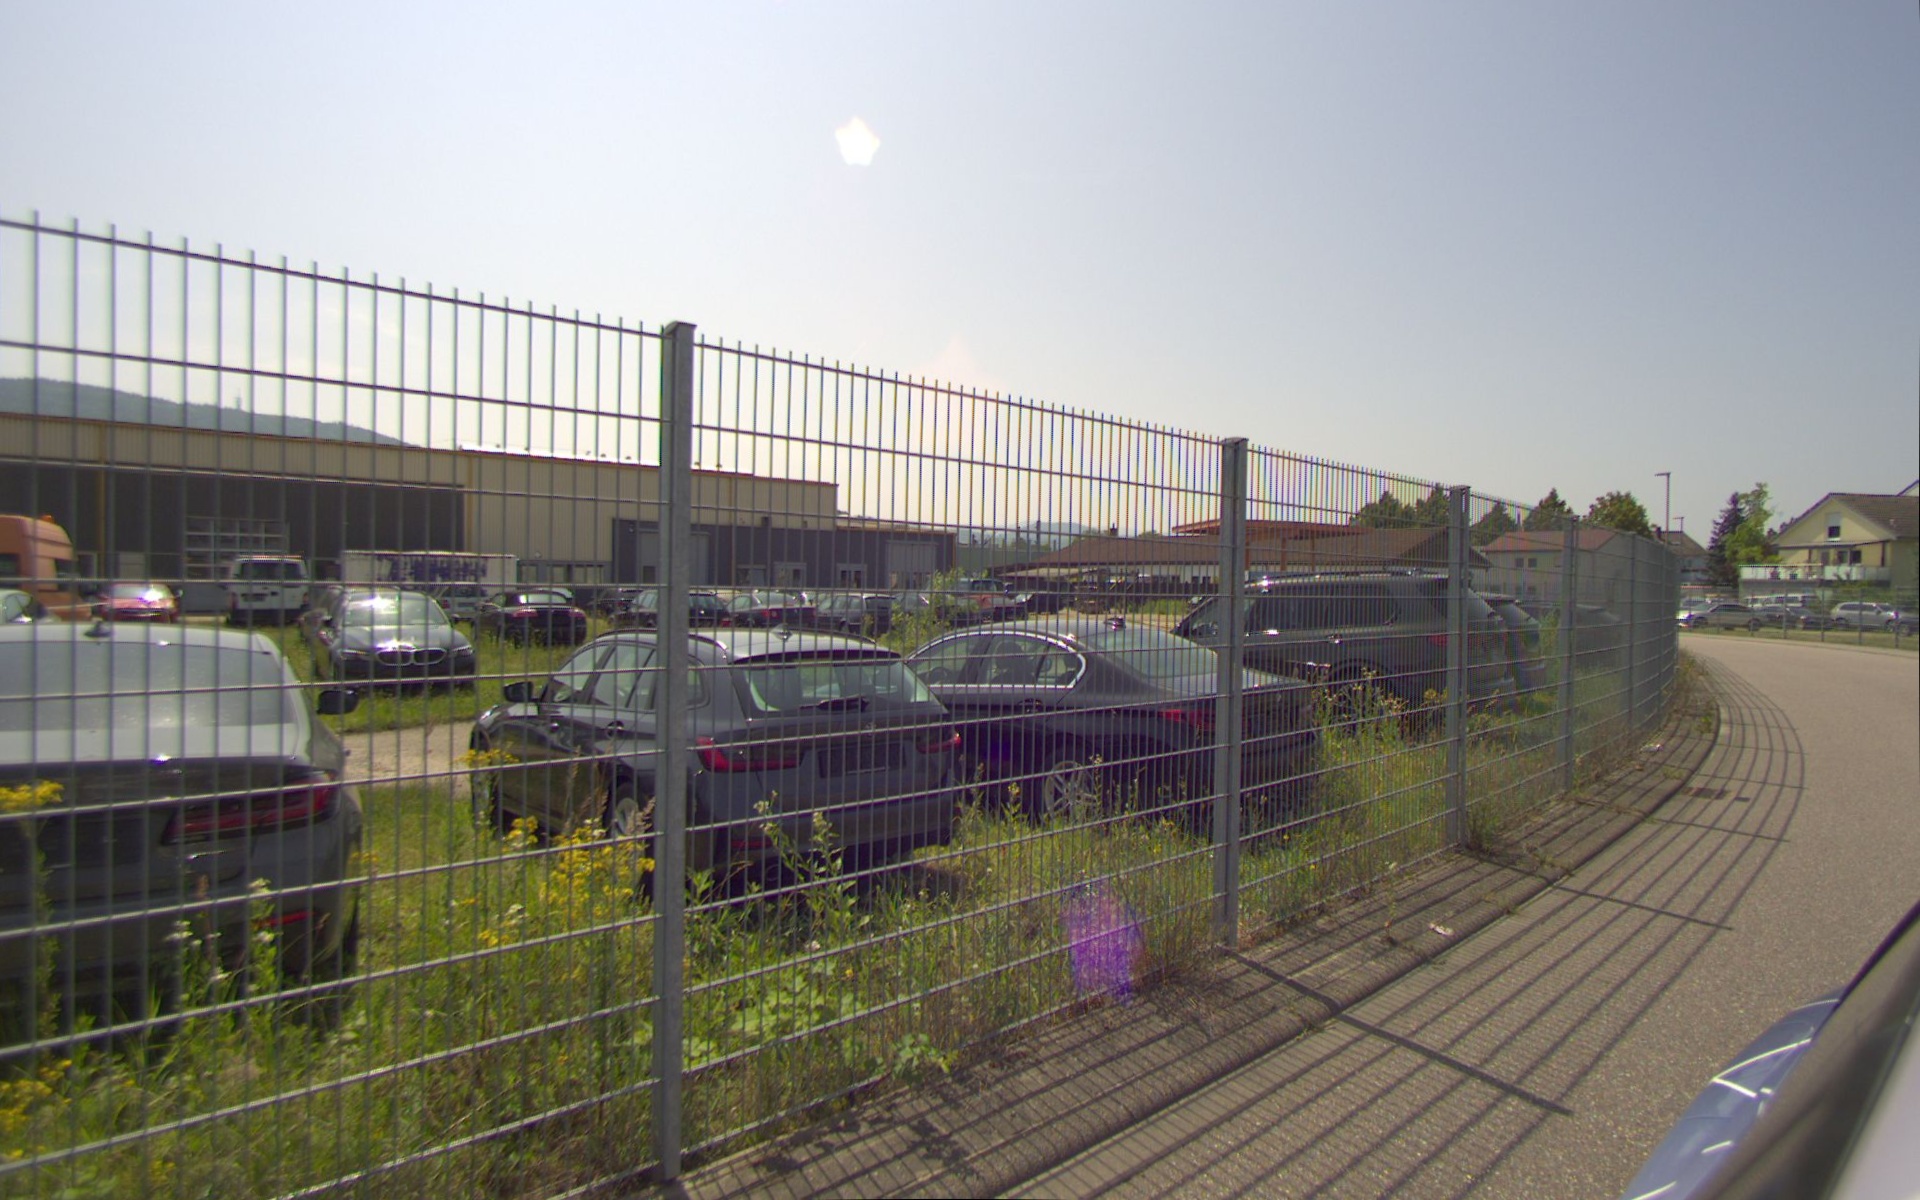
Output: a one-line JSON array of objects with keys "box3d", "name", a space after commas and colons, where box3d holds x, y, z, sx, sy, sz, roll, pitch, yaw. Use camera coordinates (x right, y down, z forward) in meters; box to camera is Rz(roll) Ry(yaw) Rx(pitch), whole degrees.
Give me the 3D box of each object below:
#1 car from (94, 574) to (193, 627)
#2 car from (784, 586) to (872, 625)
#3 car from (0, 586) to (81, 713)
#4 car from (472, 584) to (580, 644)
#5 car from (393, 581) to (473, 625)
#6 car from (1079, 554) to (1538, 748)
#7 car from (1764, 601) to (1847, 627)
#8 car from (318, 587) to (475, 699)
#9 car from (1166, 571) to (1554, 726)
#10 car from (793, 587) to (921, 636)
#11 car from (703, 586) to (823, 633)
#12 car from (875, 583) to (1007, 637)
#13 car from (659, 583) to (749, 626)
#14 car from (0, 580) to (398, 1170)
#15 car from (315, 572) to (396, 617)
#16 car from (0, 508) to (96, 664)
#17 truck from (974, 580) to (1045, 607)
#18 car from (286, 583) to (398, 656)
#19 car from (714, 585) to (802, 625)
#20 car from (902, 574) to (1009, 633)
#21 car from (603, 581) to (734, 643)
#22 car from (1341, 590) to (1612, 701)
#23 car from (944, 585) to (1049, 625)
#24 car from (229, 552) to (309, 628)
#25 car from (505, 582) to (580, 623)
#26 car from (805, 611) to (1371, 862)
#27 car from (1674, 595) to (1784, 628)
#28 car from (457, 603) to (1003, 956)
[{"box3d": [-24.023, -0.023, 29.909, 1.806, 1.395, 4.393, 1, 1, -33], "name": "car"}, {"box3d": [-5.378, 0.199, 40.738, 1.806, 1.395, 4.393, 1, 1, -33], "name": "car"}, {"box3d": [-13.076, 0.548, 13.177, 1.786, 1.368, 4.763, 1, 1, -33], "name": "car"}, {"box3d": [-10.076, 0.271, 23.326, 1.546, 1.198, 4.393, 1, 1, -33], "name": "car"}, {"box3d": [-18.802, 0.067, 35.990, 1.936, 1.403, 4.390, 1, 1, -35], "name": "car"}, {"box3d": [3.770, 0.402, 11.600, 4.686, 1.791, 1.715, 2, 1, 44], "name": "car"}, {"box3d": [51.221, 0.816, 61.422, 1.784, 1.482, 3.687, 0, 1, -4], "name": "car"}, {"box3d": [-8.791, 0.536, 15.571, 1.786, 1.368, 4.763, 1, 1, -33], "name": "car"}, {"box3d": [4.963, 0.484, 12.916, 4.290, 1.623, 1.668, 2, 1, 41], "name": "car"}, {"box3d": [-2.998, 0.284, 28.709, 1.806, 1.221, 4.393, 1, 1, -33], "name": "car"}, {"box3d": [-5.302, 0.214, 26.833, 1.587, 1.046, 4.393, 1, 1, -33], "name": "car"}, {"box3d": [-0.641, 0.246, 29.474, 1.806, 1.362, 4.393, 1, 1, -33], "name": "car"}, {"box3d": [-9.291, 0.121, 36.481, 1.806, 1.395, 4.393, 1, 1, -33], "name": "car"}, {"box3d": [-3.880, 0.750, 4.767, 1.761, 1.602, 4.485, 1, 1, -34], "name": "car"}, {"box3d": [-19.932, -0.209, 33.286, 1.936, 1.339, 4.390, 1, 1, -35], "name": "car"}, {"box3d": [-17.688, -0.300, 18.718, 1.942, 2.617, 4.749, 1, 1, -33], "name": "car"}, {"box3d": [3.538, -0.445, 72.010, 4.705, 1.820, 2.063, 1, 1, -31], "name": "truck"}, {"box3d": [-12.870, 0.342, 21.005, 1.786, 1.285, 4.393, 1, 1, -33], "name": "car"}, {"box3d": [-7.833, 0.155, 38.987, 1.806, 1.395, 4.393, 1, 1, -33], "name": "car"}, {"box3d": [-0.230, 0.092, 37.271, 1.806, 2.006, 4.393, 1, 1, -33], "name": "car"}, {"box3d": [-7.116, 0.241, 24.407, 1.842, 1.291, 4.393, 1, 1, -33], "name": "car"}, {"box3d": [7.871, 0.611, 15.576, 3.462, 1.435, 1.494, 2, 1, 41], "name": "car"}, {"box3d": [1.089, 0.127, 31.812, 1.639, 1.122, 3.377, 1, 1, -33], "name": "car"}, {"box3d": [-21.718, -0.342, 31.785, 1.936, 2.199, 4.390, 1, 1, -35], "name": "car"}, {"box3d": [-15.736, 0.074, 38.006, 1.806, 1.395, 4.393, 1, 1, -33], "name": "car"}, {"box3d": [0.666, 0.794, 7.927, 1.692, 1.399, 4.473, 1, -1, -39], "name": "car"}, {"box3d": [40.588, 0.571, 53.560, 4.353, 1.590, 1.807, 1, 1, 28], "name": "car"}, {"box3d": [-1.844, 0.793, 6.686, 1.692, 1.399, 4.479, 1, 1, -39], "name": "car"}]
